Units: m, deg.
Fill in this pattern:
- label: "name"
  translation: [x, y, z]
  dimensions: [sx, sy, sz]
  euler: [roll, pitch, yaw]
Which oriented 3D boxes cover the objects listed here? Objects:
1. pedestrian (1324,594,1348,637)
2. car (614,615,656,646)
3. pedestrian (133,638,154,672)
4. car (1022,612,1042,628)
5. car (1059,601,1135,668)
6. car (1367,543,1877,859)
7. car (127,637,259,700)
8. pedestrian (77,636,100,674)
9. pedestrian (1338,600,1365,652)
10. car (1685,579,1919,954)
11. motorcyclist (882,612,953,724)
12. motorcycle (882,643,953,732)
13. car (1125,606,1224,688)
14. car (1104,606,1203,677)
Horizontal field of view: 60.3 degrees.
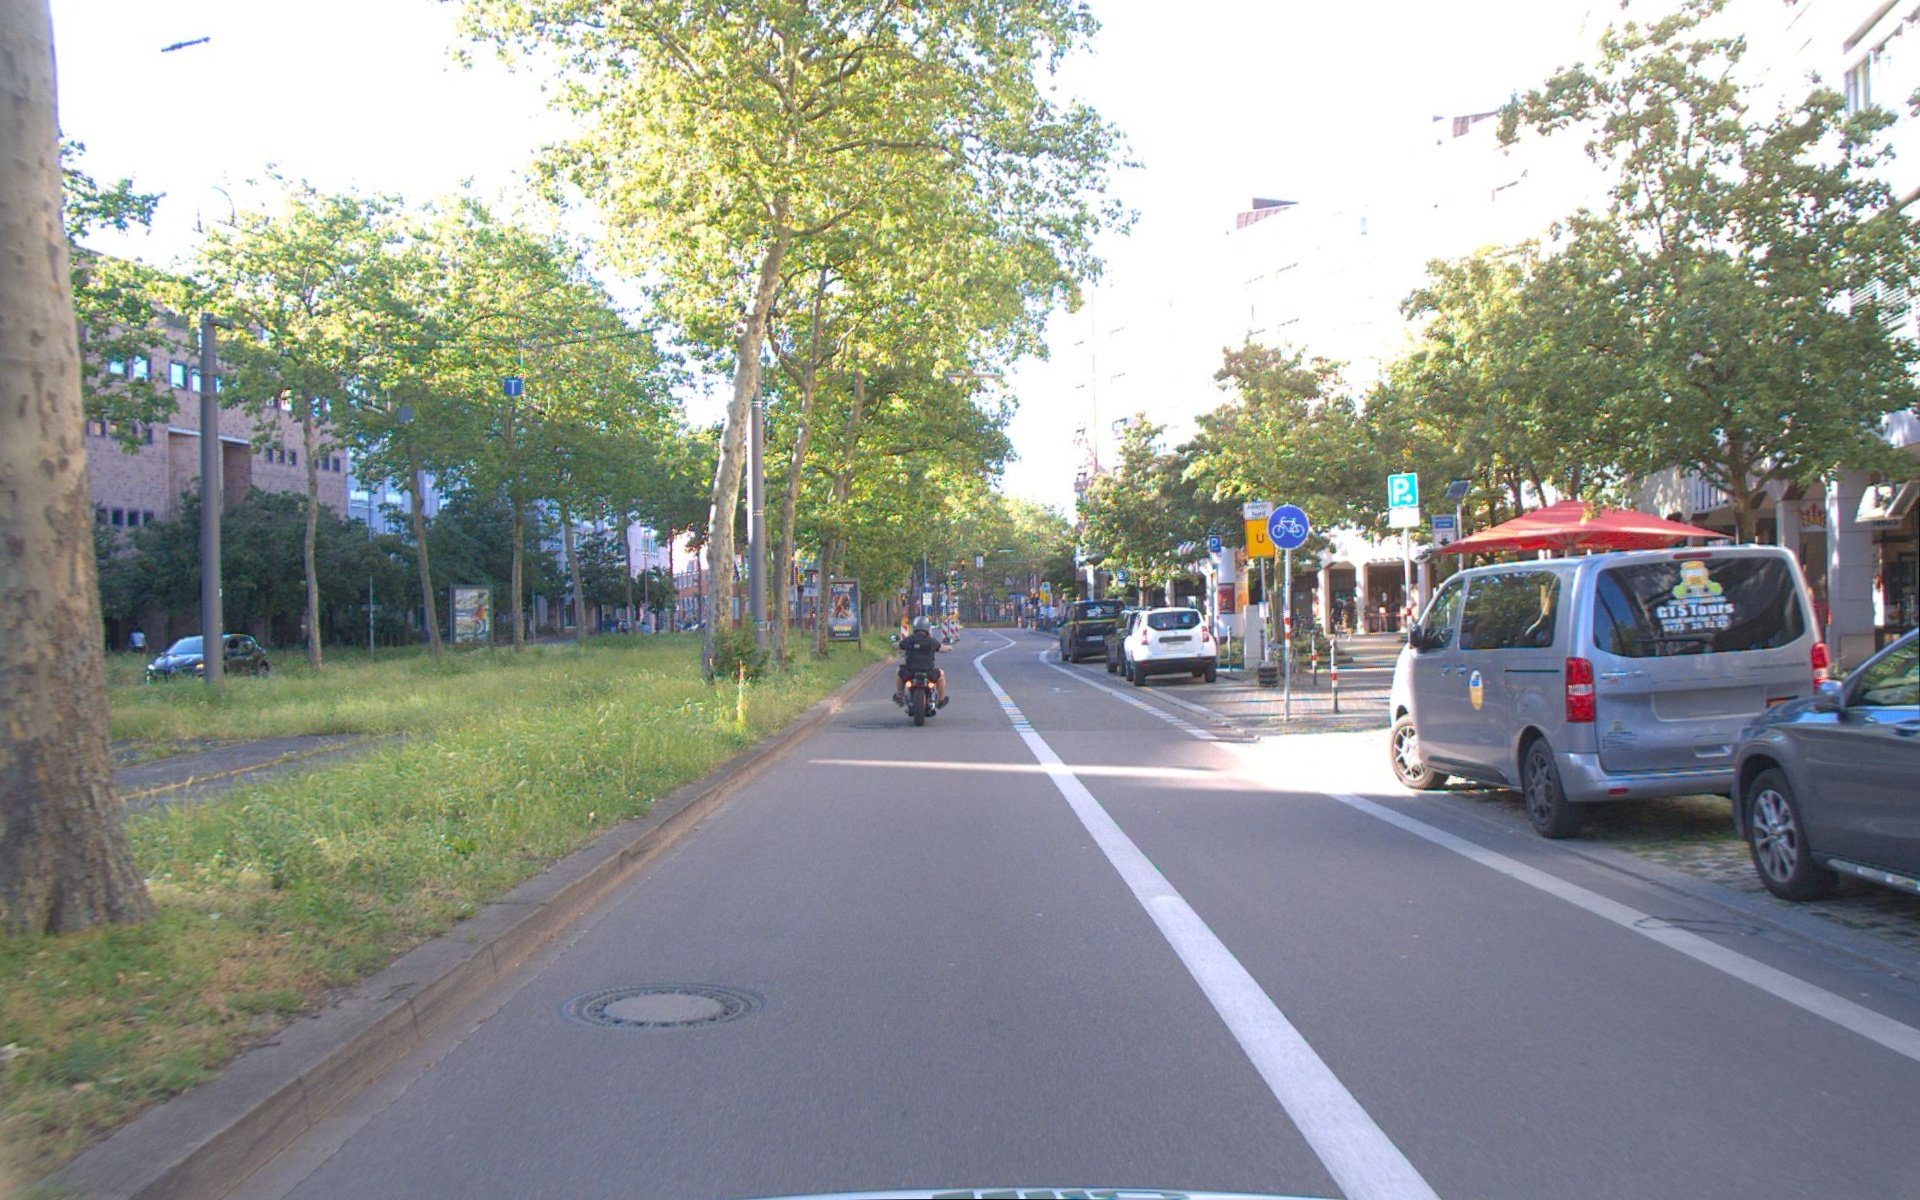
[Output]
- label: "pedestrian"
  translation: [16.820, 0.692, 74.019]
  dimensions: [0.849, 1.917, 1.059]
  euler: [-1, -1, 4]
- label: "car"
  translation: [-19.244, 1.790, 98.032]
  dimensions: [1.862, 1.716, 3.998]
  euler: [-1, -1, -3]
- label: "pedestrian"
  translation: [-31.600, 2.128, 64.018]
  dimensions: [0.491, 1.313, 0.522]
  euler: [-1, -1, 4]
- label: "car"
  translation: [8.103, 2.246, 185.297]
  dimensions: [1.951, 1.736, 4.003]
  euler: [-1, -1, 6]
- label: "car"
  translation: [4.434, 1.109, 54.280]
  dimensions: [1.989, 2.011, 4.413]
  euler: [-2, -1, -1]
- label: "car"
  translation: [4.795, 0.670, 12.933]
  dimensions: [1.883, 1.875, 4.923]
  euler: [-4, -1, 0]
- label: "car"
  translation: [-19.047, 1.668, 41.230]
  dimensions: [1.560, 1.423, 3.733]
  euler: [-1, -1, -1]
- label: "pedestrian"
  translation: [-30.739, 1.939, 58.331]
  dimensions: [0.491, 1.313, 0.522]
  euler: [-1, -1, 4]
- label: "pedestrian"
  translation: [15.645, 1.034, 66.112]
  dimensions: [0.848, 2.049, 0.882]
  euler: [-1, -1, 3]
- label: "car"
  translation: [5.047, 0.683, 7.313]
  dimensions: [1.821, 1.600, 4.416]
  euler: [-4, -1, 3]
- label: "motorcyclist"
  translation: [-0.624, 0.989, 24.645]
  dimensions: [1.001, 1.579, 1.286]
  euler: [-1, 0, -1]
- label: "motorcycle"
  translation: [-0.614, 1.271, 24.648]
  dimensions: [0.985, 1.145, 2.323]
  euler: [-1, 1, -1]
- label: "car"
  translation: [4.706, 1.011, 36.780]
  dimensions: [1.820, 1.667, 3.869]
  euler: [-2, -1, 3]
- label: "car"
  translation: [4.921, 1.052, 42.569]
  dimensions: [1.947, 1.657, 4.084]
  euler: [-2, -1, -1]
